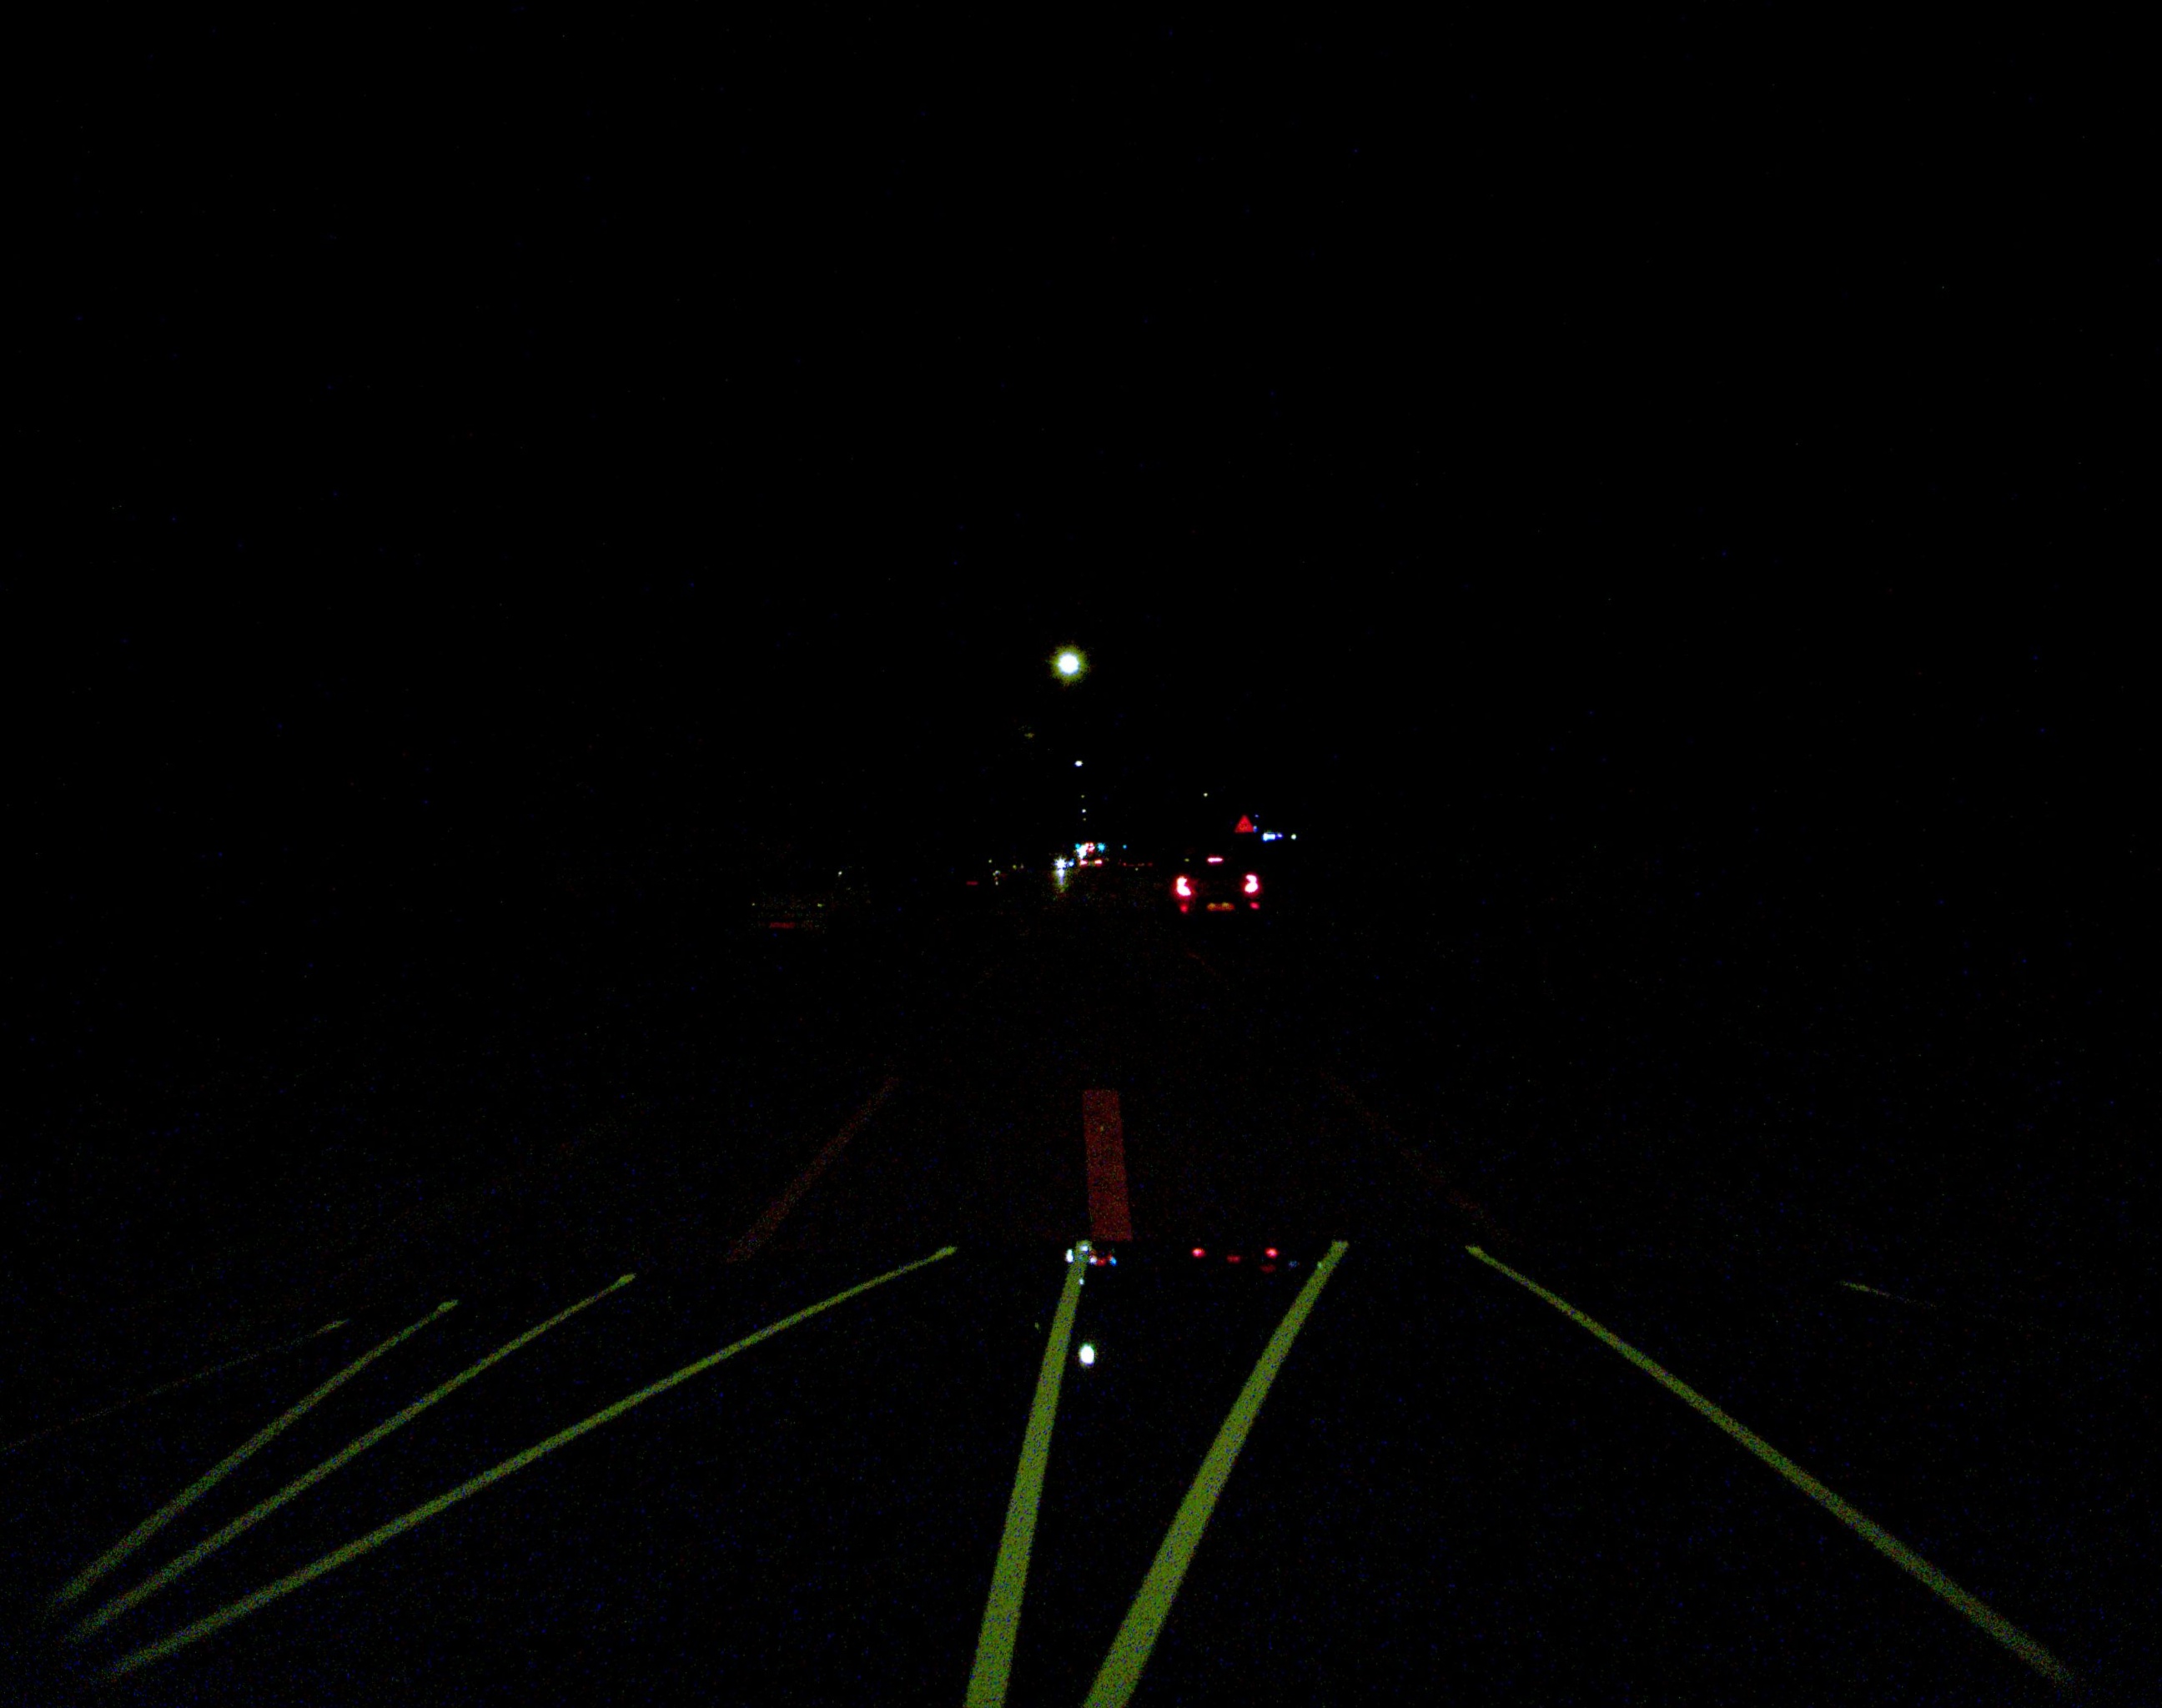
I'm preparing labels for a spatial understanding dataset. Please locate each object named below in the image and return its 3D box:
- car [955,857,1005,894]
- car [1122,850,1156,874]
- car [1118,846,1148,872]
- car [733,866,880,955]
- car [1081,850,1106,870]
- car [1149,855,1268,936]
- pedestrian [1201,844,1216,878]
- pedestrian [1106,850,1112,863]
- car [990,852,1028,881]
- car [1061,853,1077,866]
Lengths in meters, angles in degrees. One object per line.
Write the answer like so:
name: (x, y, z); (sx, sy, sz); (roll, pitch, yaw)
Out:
car: (-4.461, 0.906, 33.948); (1.742, 1.489, 3.890); (-1, 0, -1)
car: (3.900, 0.517, 52.081); (1.998, 1.477, 3.999); (-3, 1, 1)
car: (3.880, 0.354, 57.006); (1.998, 1.772, 3.999); (-2, 1, 1)
car: (-5.284, 1.021, 15.104); (1.611, 1.500, 3.486); (0, 0, 1)
car: (1.140, 0.534, 66.452); (1.903, 1.581, 3.661); (-2, 1, 4)
car: (2.532, 0.841, 15.854); (1.755, 1.433, 3.487); (-2, -2, -2)
pedestrian: (6.688, 0.337, 39.869); (0.673, 1.750, 0.500); (-2, 1, 1)
pedestrian: (4.346, 0.424, 118.289); (0.804, 2.002, 0.940); (-2, 1, 1)
car: (-4.450, 0.752, 47.480); (1.852, 1.643, 4.179); (-2, 0, 0)
car: (-1.406, 0.643, 89.339); (1.780, 1.477, 3.999); (-2, 1, -1)
